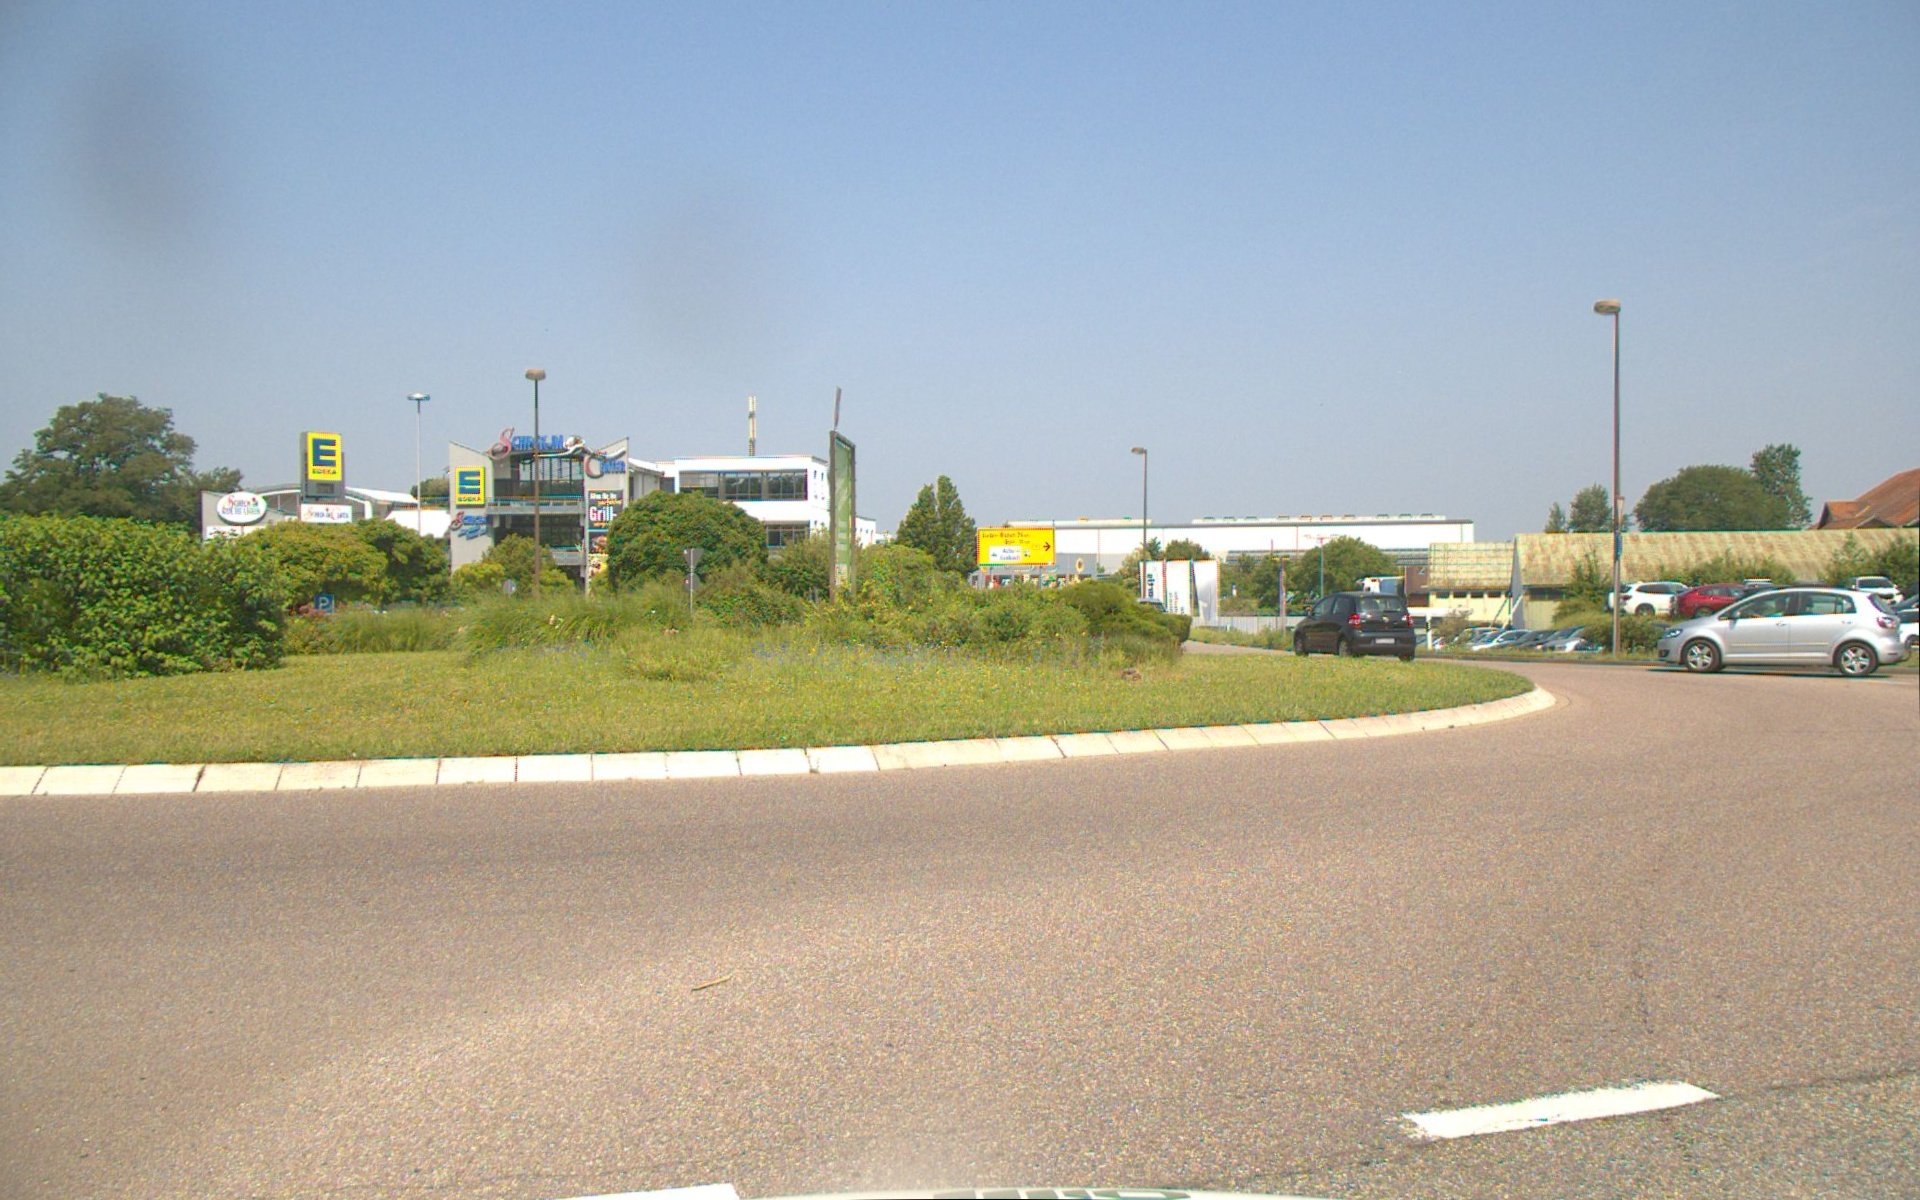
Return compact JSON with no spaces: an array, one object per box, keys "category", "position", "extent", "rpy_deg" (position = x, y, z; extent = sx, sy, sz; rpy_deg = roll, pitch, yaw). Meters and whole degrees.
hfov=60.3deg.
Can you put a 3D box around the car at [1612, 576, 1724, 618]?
[{"category":"car","position":[31.689,-0.123,74.108],"extent":[4.358,1.777,1.840],"rpy_deg":[-1,0,14]}]

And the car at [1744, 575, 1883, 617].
[{"category":"car","position":[32.675,-0.147,63.437],"extent":[4.358,1.526,1.951],"rpy_deg":[-1,0,14]}]

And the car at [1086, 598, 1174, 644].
[{"category":"car","position":[5.574,0.691,54.605],"extent":[1.748,1.431,4.074],"rpy_deg":[1,-1,-12]}]

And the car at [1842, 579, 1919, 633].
[{"category":"car","position":[29.677,0.150,51.059],"extent":[4.495,1.598,1.758],"rpy_deg":[-1,-1,-20]}]

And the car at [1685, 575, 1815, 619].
[{"category":"car","position":[31.602,-0.117,66.292],"extent":[4.358,1.663,1.951],"rpy_deg":[-1,0,14]}]

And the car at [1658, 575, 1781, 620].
[{"category":"car","position":[31.597,-0.089,68.943],"extent":[4.358,1.777,1.951],"rpy_deg":[-1,0,14]}]

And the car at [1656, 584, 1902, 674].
[{"category":"car","position":[15.170,0.515,30.686],"extent":[3.996,1.557,1.781],"rpy_deg":[0,-1,30]}]

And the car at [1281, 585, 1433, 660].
[{"category":"car","position":[8.743,0.502,36.782],"extent":[1.748,1.557,3.988],"rpy_deg":[1,-1,-12]}]

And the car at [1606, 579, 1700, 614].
[{"category":"car","position":[32.008,-0.152,76.496],"extent":[3.792,1.559,1.770],"rpy_deg":[-1,0,14]}]

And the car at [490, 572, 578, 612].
[{"category":"car","position":[-17.918,-0.317,69.533],"extent":[3.242,1.602,1.557],"rpy_deg":[-1,-1,15]}]

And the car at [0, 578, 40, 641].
[{"category":"car","position":[-31.719,0.290,53.159],"extent":[1.652,2.049,4.003],"rpy_deg":[1,-1,7]}]

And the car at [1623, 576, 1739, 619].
[{"category":"car","position":[31.236,-0.105,71.799],"extent":[4.358,1.777,1.840],"rpy_deg":[-1,0,14]}]

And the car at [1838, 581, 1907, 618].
[{"category":"car","position":[42.254,-0.035,76.698],"extent":[1.876,1.624,4.307],"rpy_deg":[-1,0,16]}]
